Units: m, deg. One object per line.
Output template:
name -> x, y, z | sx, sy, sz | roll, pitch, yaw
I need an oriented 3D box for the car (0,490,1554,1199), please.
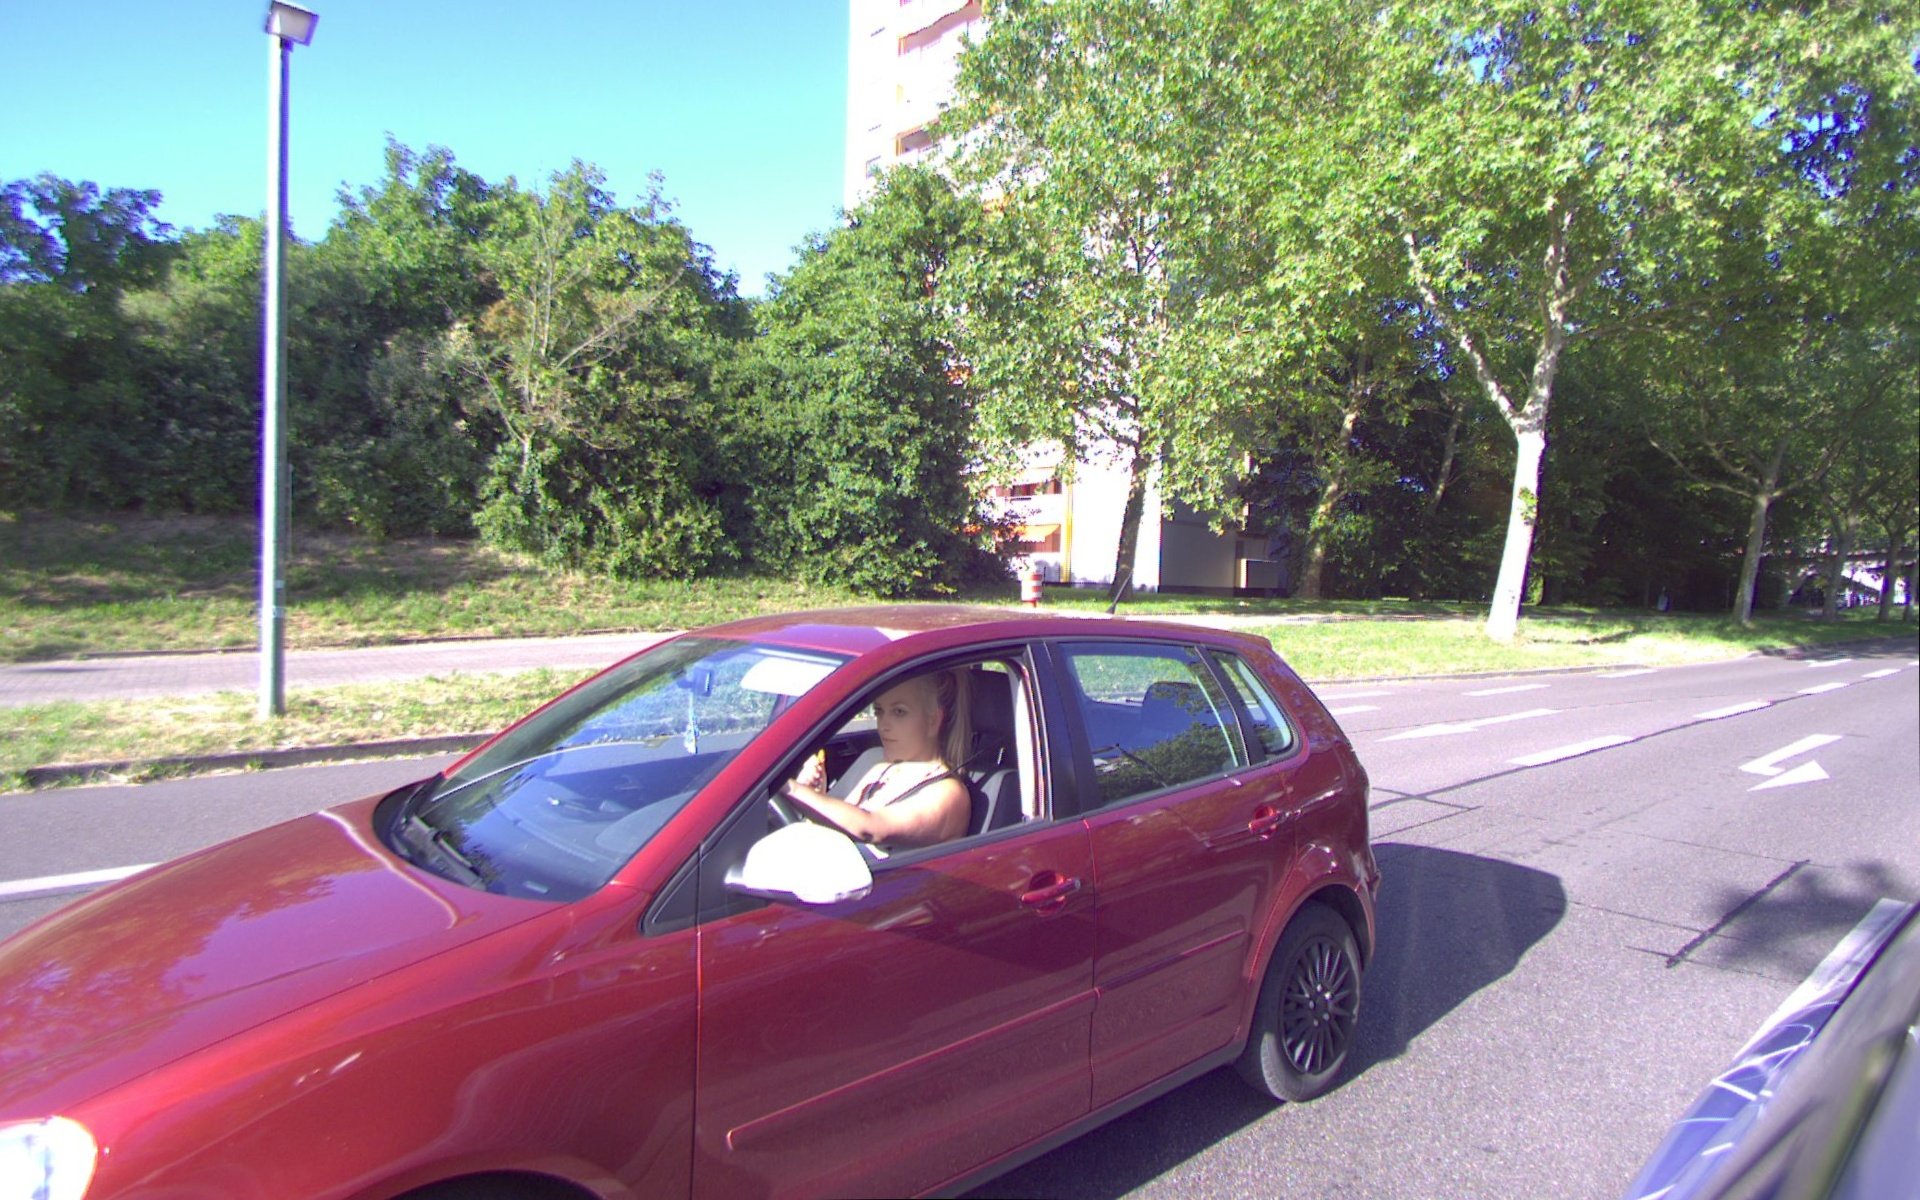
car -> -0.073, 0.655, 3.102 | 4.641, 1.578, 1.771 | 0, 1, -40
